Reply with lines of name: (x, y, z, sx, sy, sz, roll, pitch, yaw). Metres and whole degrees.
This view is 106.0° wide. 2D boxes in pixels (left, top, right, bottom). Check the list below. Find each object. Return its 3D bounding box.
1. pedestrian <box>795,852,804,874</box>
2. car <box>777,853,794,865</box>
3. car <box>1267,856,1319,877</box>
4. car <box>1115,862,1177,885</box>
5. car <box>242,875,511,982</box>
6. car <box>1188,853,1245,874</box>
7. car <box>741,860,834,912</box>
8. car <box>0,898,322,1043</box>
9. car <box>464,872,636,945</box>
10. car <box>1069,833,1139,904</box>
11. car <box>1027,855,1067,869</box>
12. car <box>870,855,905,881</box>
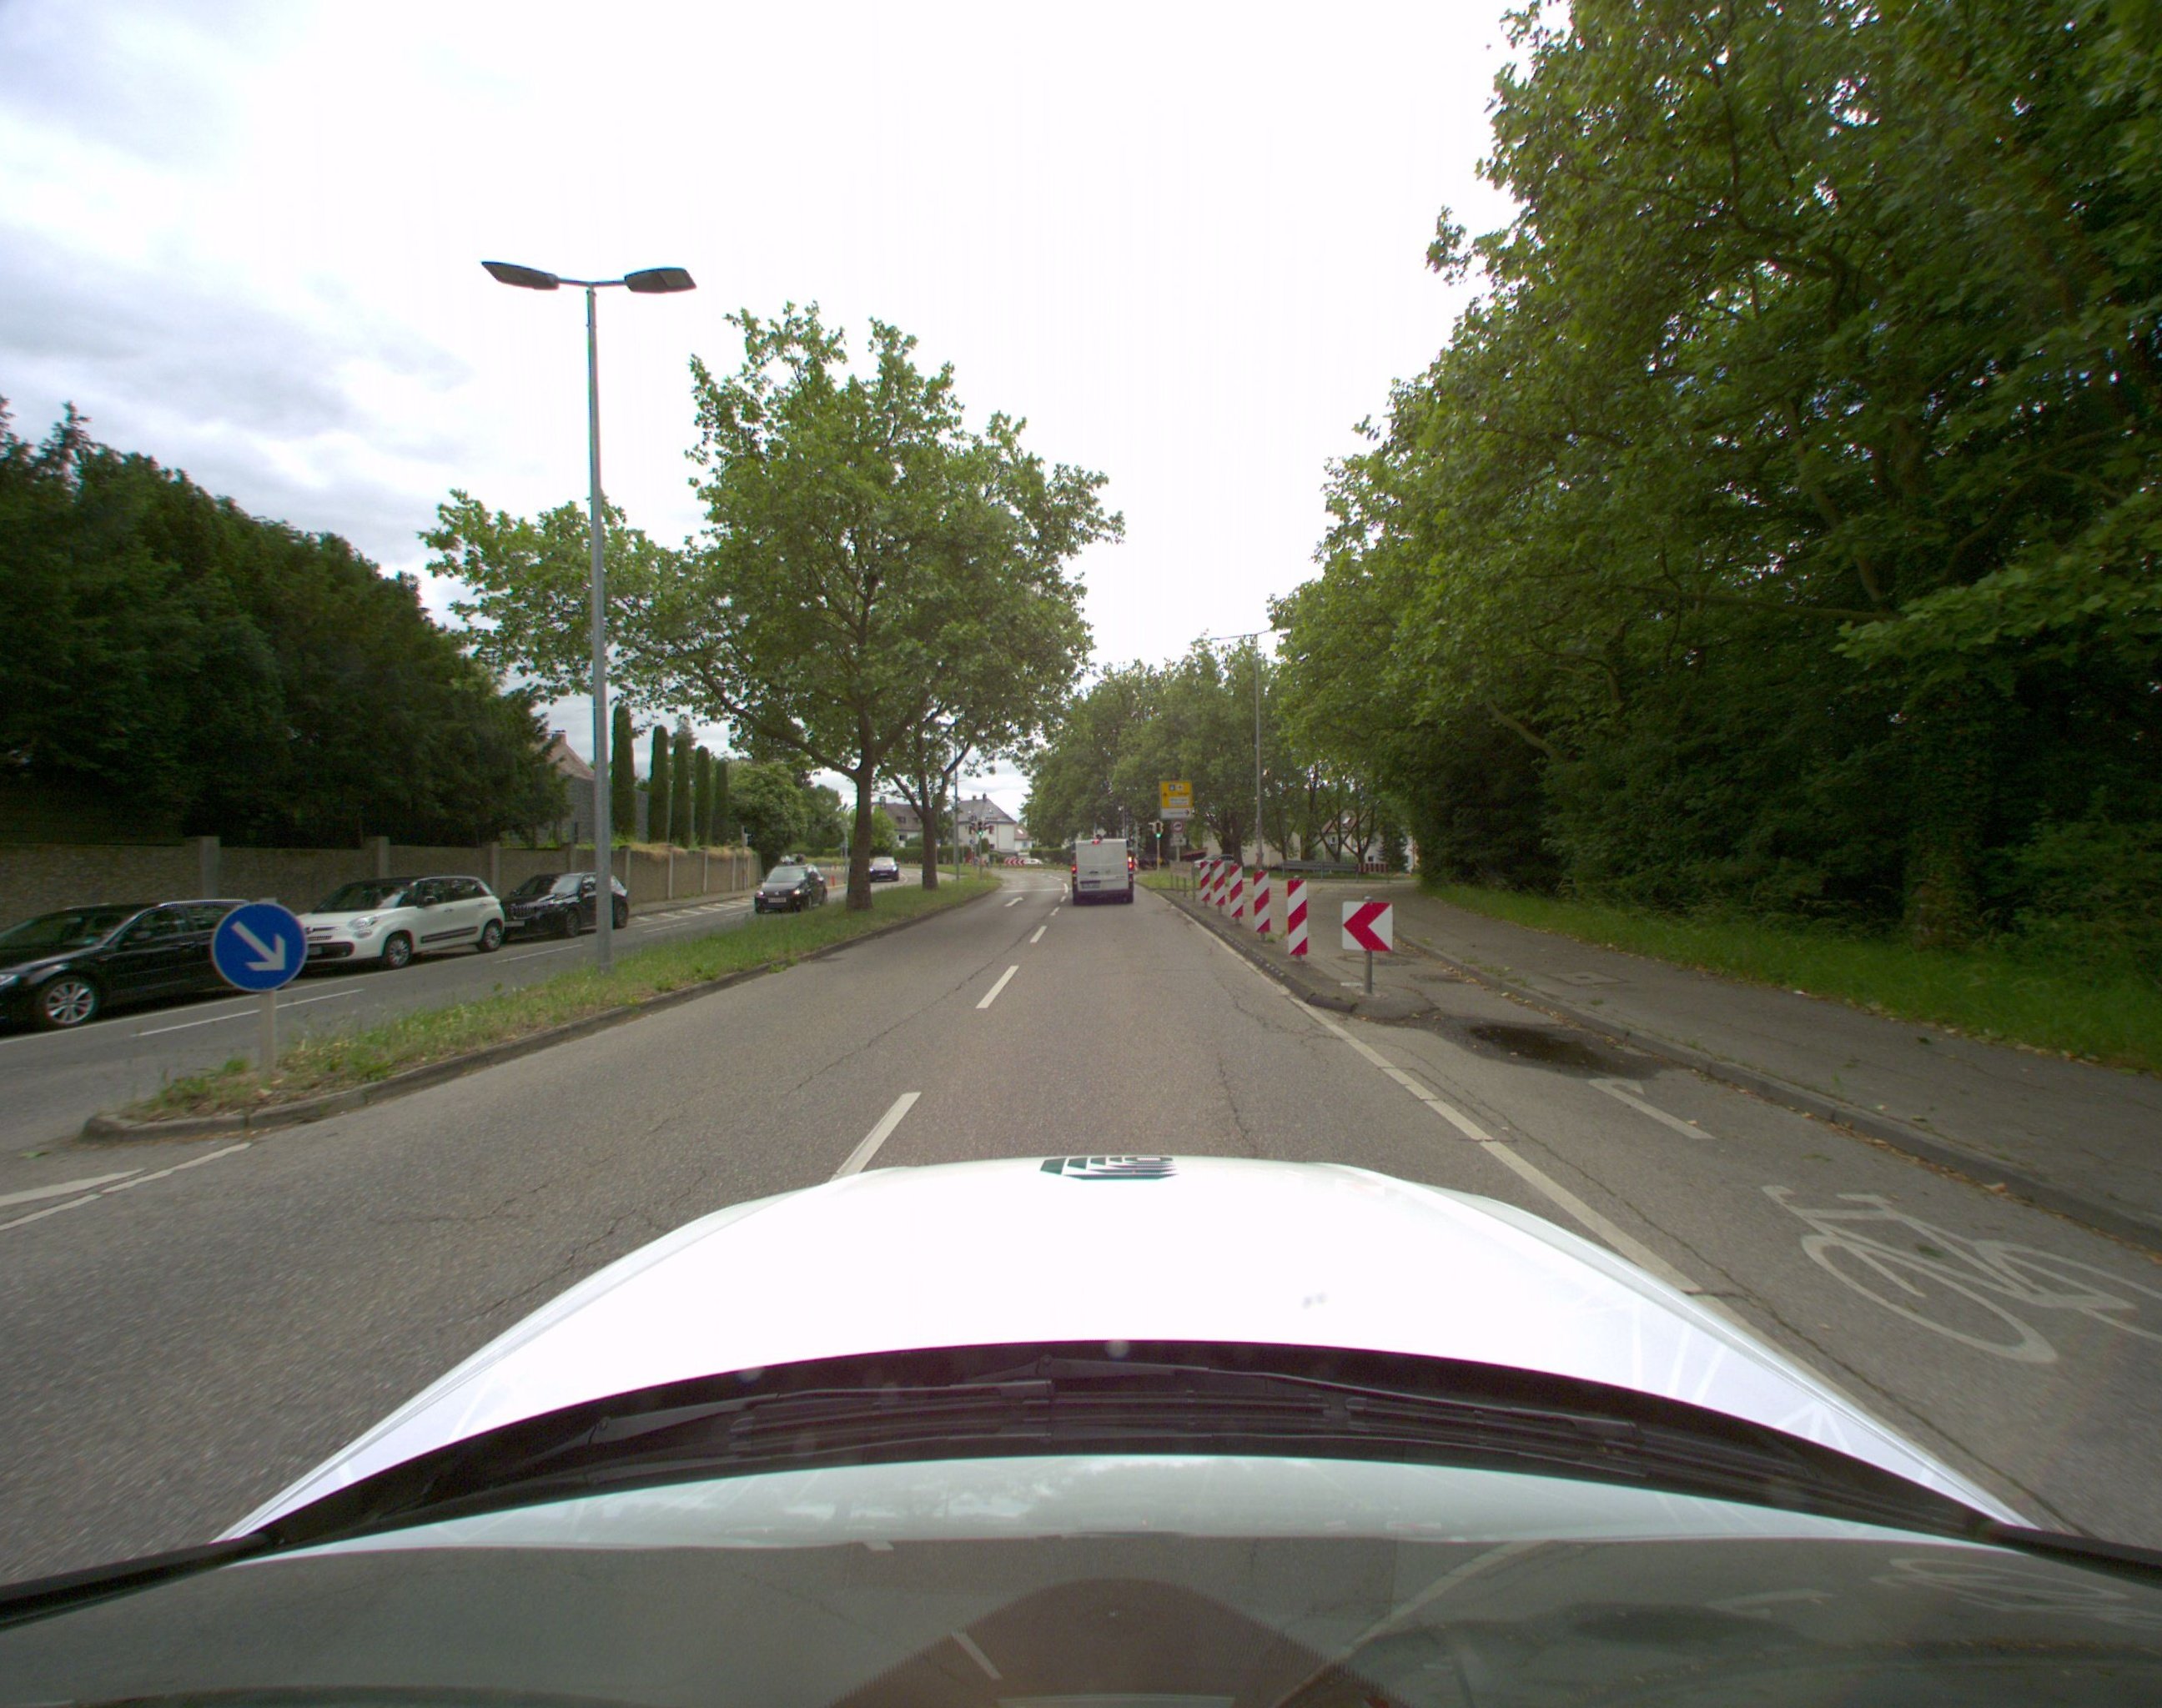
pedestrian: (-25.776, 0.796, 74.601, 0.740, 2.013, 0.630, 1, 1, -15)
car: (-43.330, 0.795, 119.441, 1.898, 1.625, 4.391, -1, -1, -27)
car: (19.421, 1.138, 74.523, 4.763, 1.769, 1.979, 0, 0, -34)
car: (5.269, 1.545, 65.413, 4.763, 1.769, 1.979, 0, 0, -34)
car: (-12.960, 1.272, 15.384, 1.669, 1.592, 4.089, -3, 0, -5)
car: (11.570, 0.791, 69.387, 4.763, 1.769, 1.979, 0, 0, -34)
car: (-10.056, 1.057, 28.222, 1.995, 1.587, 3.990, -2, -1, -5)
car: (-12.529, 1.363, 10.573, 1.645, 1.401, 4.213, -1, -1, -5)
car: (-13.370, 1.291, 20.881, 1.886, 1.625, 4.420, -1, -1, -6)
car: (0.643, 0.442, 26.311, 2.000, 2.038, 5.008, -1, -1, -1)
car: (-4.228, 0.996, 101.653, 4.683, 1.769, 2.013, -1, 0, 34)
car: (-13.064, 0.961, 54.833, 1.952, 1.625, 4.403, -1, -1, -18)
